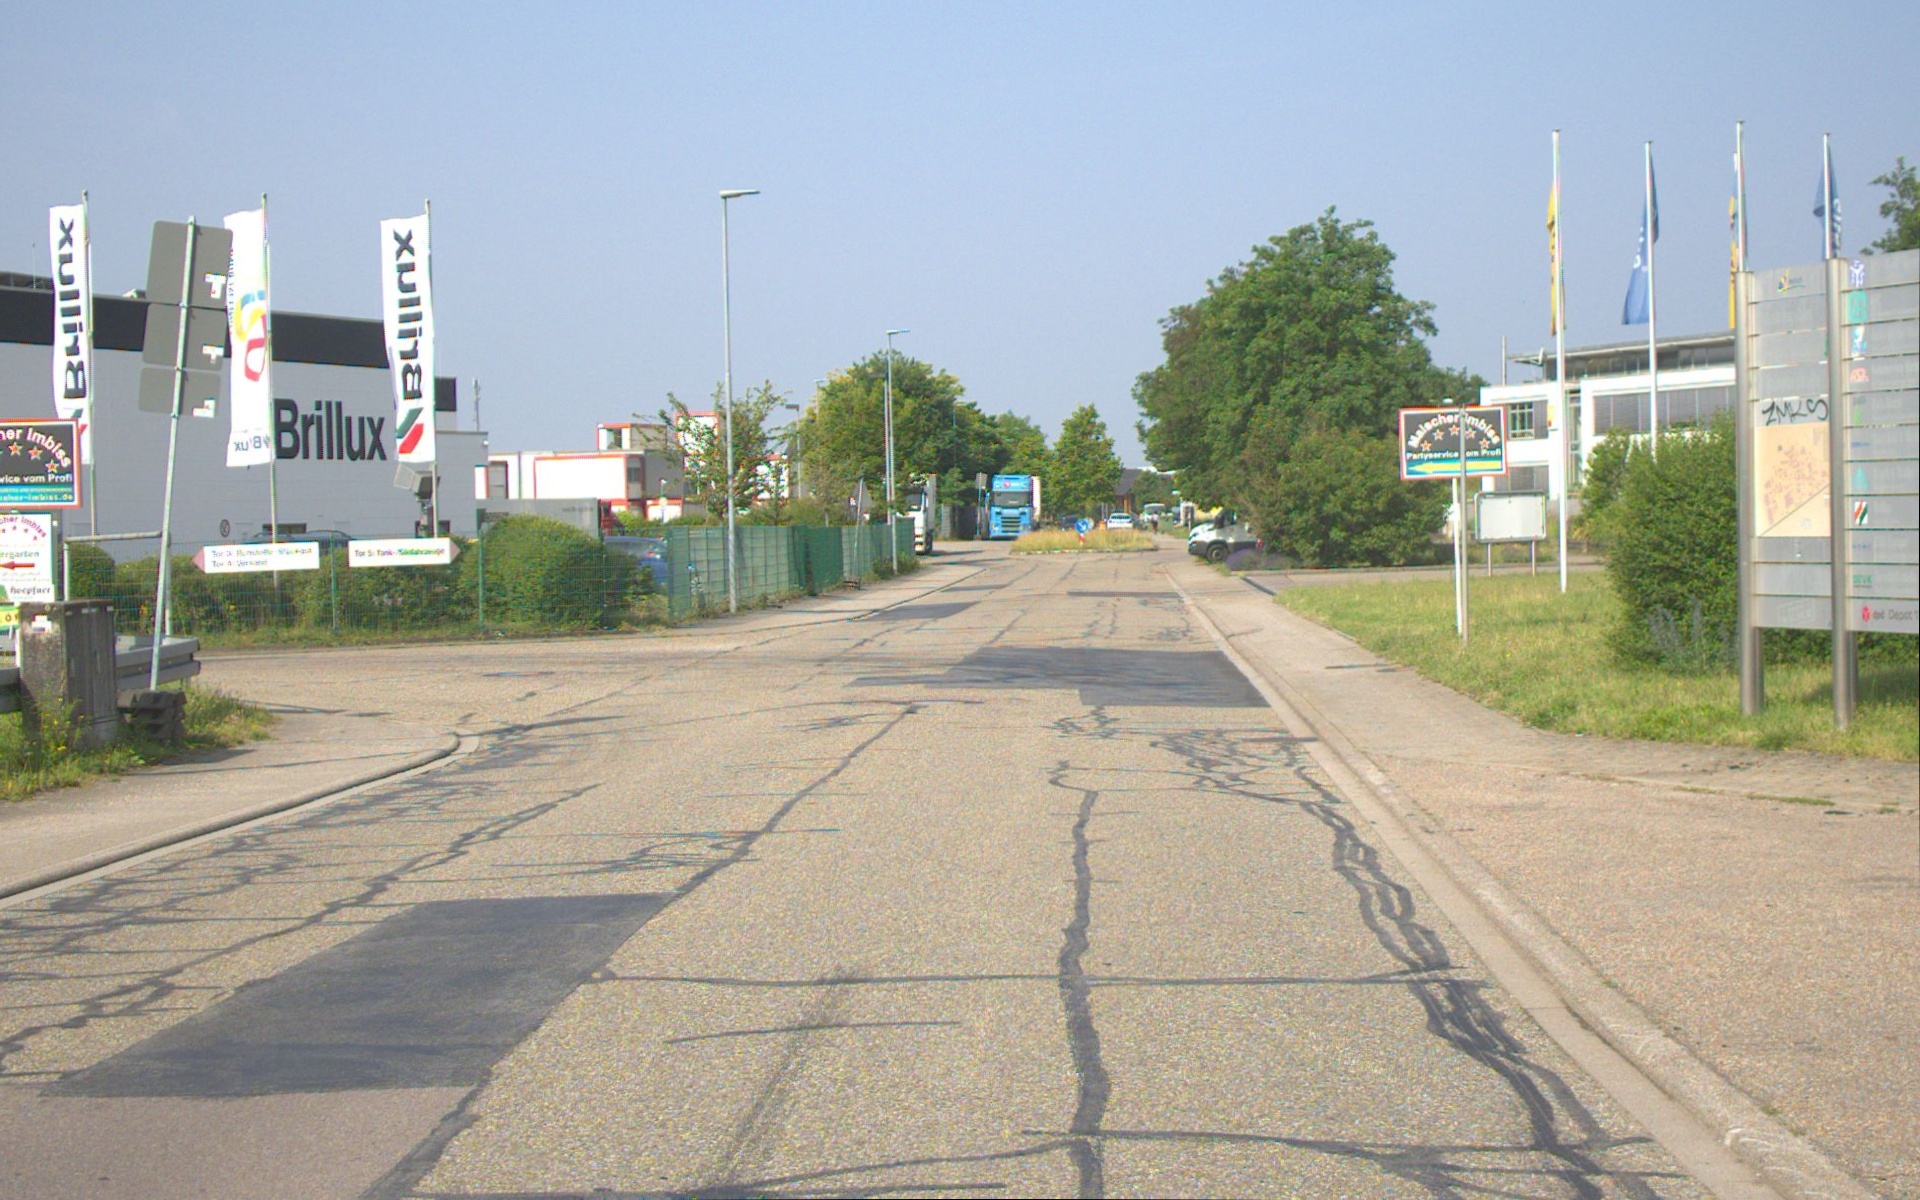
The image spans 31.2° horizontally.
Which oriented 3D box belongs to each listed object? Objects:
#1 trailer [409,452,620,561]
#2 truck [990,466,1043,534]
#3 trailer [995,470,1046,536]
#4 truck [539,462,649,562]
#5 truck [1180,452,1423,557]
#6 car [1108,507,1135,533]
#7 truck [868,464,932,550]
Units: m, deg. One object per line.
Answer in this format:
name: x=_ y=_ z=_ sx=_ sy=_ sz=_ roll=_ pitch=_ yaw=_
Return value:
trailer: x=-17.585 y=-3.634 z=137.100 sx=2.484 sy=4.027 sz=13.876 roll=1 pitch=1 yaw=19
truck: x=3.416 y=-5.917 z=204.790 sx=2.825 sy=3.812 sz=9.672 roll=1 pitch=1 yaw=2
trailer: x=3.824 y=-6.013 z=214.892 sx=2.831 sy=3.829 sz=12.035 roll=1 pitch=1 yaw=2
truck: x=-15.293 y=-3.670 z=143.988 sx=2.515 sy=4.057 sz=5.539 roll=1 pitch=1 yaw=18
truck: x=11.874 y=-3.305 z=120.061 sx=8.209 sy=3.358 sz=2.741 roll=-2 pitch=0 yaw=2
car: x=10.967 y=-5.419 z=233.799 sx=1.718 sy=1.655 sz=3.823 roll=1 pitch=1 yaw=1
truck: x=-2.765 y=-4.323 z=160.704 sx=2.709 sy=3.908 sz=4.296 roll=1 pitch=0 yaw=2
